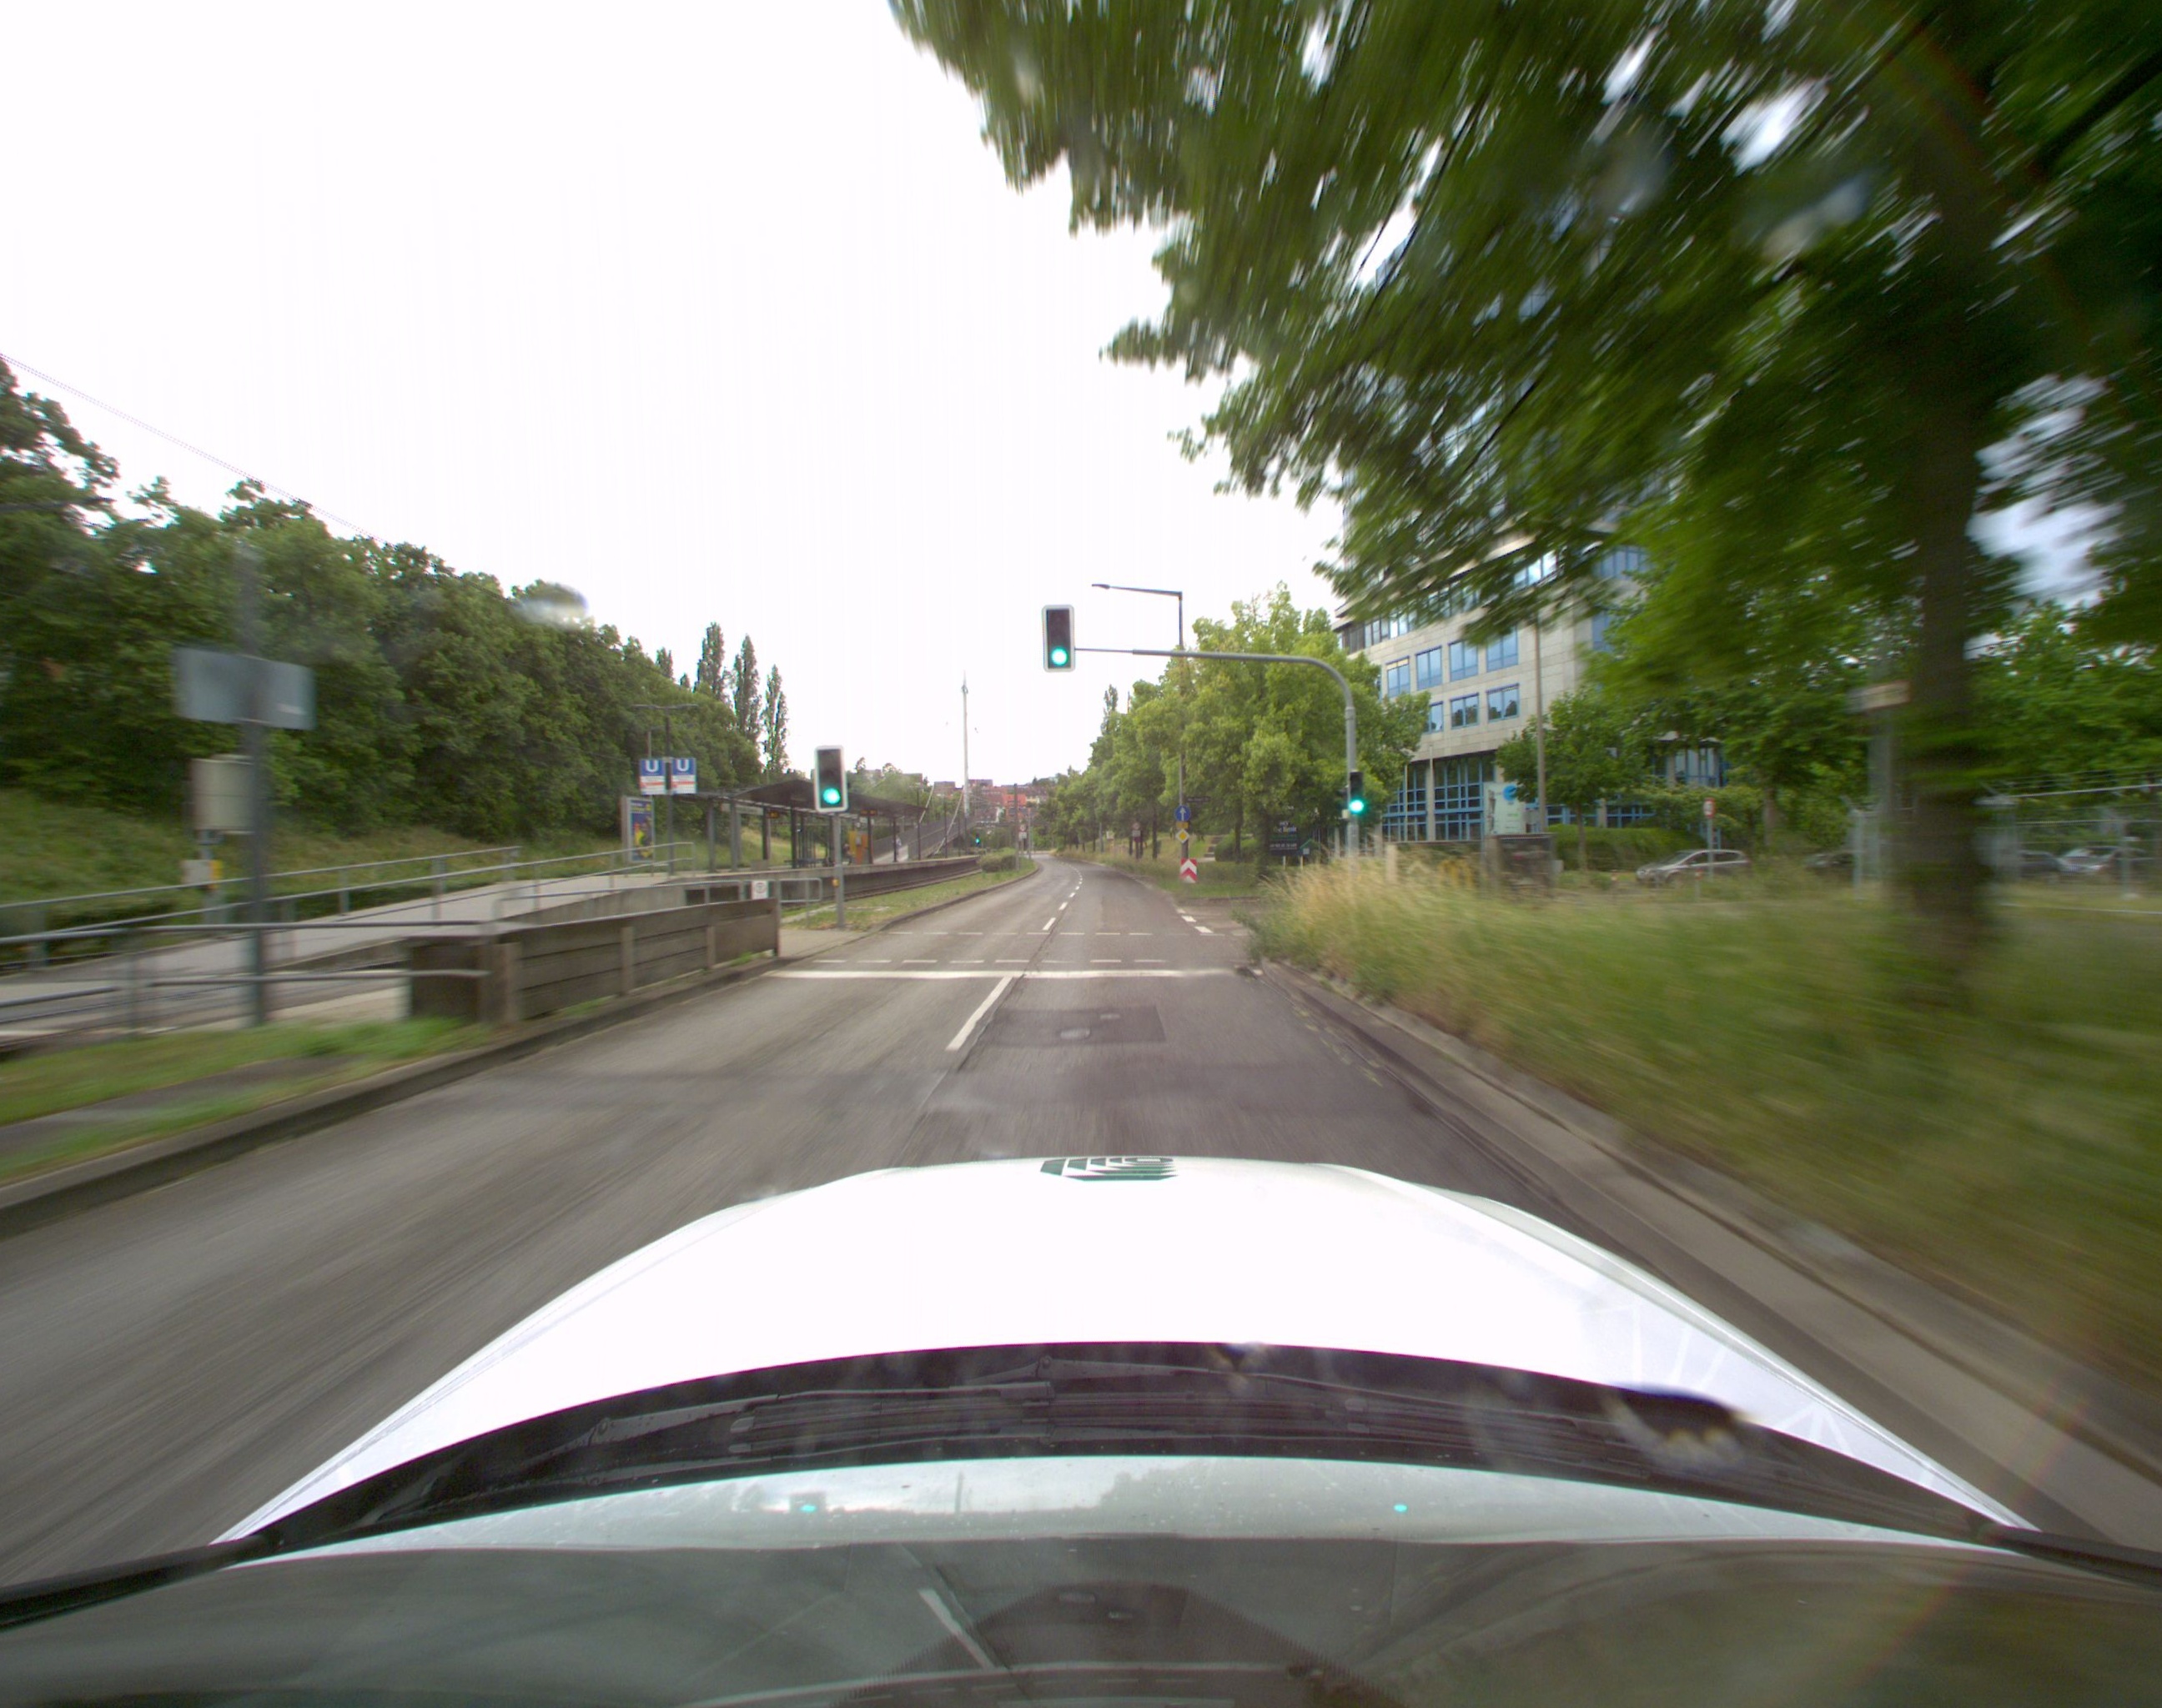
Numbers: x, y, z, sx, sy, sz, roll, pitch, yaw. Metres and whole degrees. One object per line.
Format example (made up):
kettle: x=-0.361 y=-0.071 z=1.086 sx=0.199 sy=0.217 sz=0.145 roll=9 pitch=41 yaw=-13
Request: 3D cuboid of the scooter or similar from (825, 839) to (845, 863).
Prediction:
scooter or similar: x=-12.540 y=-0.157 z=41.428 sx=1.284 sy=1.218 sz=0.382 roll=0 pitch=-1 yaw=45

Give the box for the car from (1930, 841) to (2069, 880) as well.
car: x=38.127 y=0.261 z=33.854 sx=4.090 sy=1.433 sz=1.755 roll=-1 pitch=2 yaw=-5

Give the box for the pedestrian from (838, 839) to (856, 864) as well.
pedestrian: x=-12.725 y=-0.153 z=44.270 sx=0.751 sy=1.355 sz=0.691 roll=-1 pitch=0 yaw=-3

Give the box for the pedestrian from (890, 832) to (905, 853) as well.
pedestrian: x=-13.696 y=-0.858 z=60.906 sx=0.933 sy=1.611 sz=1.026 roll=-1 pitch=0 yaw=-3

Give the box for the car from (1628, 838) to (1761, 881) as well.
car: x=25.195 y=0.202 z=33.552 sx=4.076 sy=1.641 sz=1.761 roll=-1 pitch=2 yaw=6

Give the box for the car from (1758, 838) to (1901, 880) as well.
car: x=30.428 y=0.198 z=33.223 sx=4.076 sy=1.578 sz=1.761 roll=-1 pitch=2 yaw=6

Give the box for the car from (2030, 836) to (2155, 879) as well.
car: x=43.058 y=0.124 z=34.698 sx=4.101 sy=1.621 sz=1.750 roll=-2 pitch=2 yaw=-13
